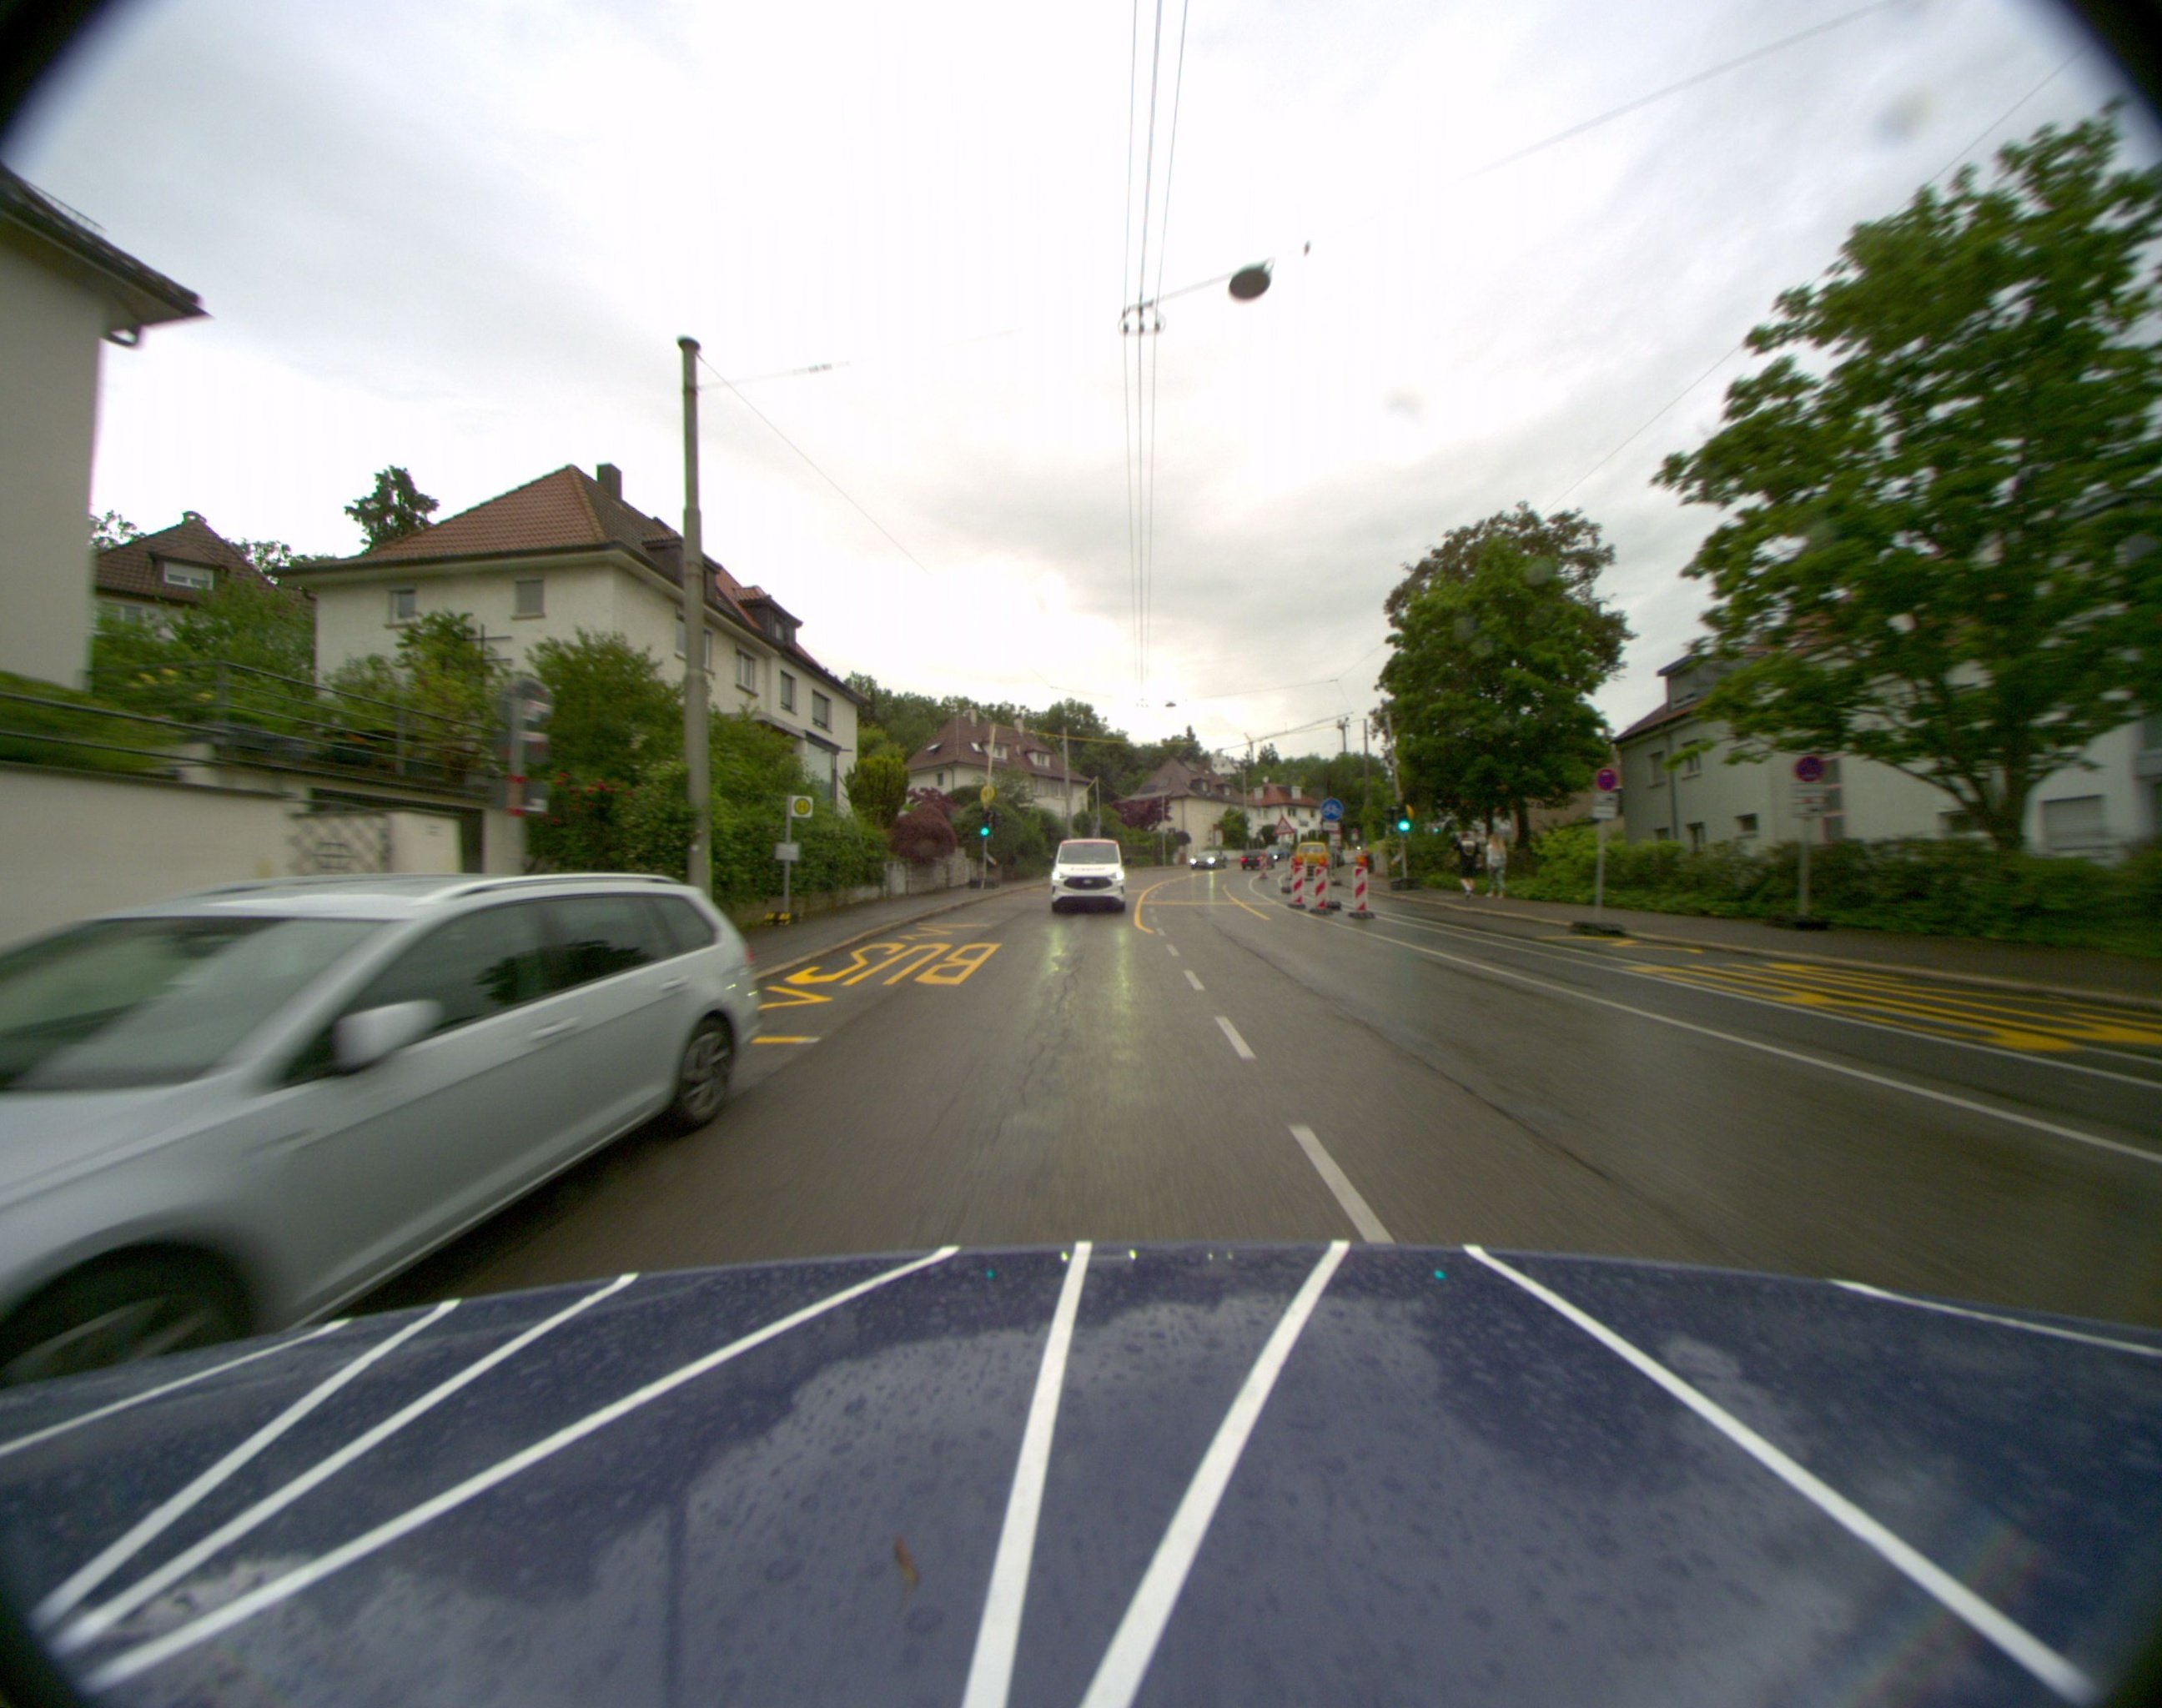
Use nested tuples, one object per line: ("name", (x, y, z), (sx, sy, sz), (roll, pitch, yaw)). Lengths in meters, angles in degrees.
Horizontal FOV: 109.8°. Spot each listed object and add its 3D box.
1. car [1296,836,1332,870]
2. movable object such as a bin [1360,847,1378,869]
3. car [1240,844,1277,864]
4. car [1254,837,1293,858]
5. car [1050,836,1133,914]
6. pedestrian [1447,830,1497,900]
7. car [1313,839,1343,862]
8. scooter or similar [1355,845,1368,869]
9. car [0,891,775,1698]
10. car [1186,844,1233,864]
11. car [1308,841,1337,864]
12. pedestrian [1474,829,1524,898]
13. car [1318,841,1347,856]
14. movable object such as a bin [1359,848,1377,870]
("car", (14.326, -0.101, 46.616), (1.805, 1.917, 4.583), (0, 2, 21))
("movable object such as a bin", (15.980, 0.227, 42.171), (0.859, 1.134, 0.713), (-2, 2, 18))
("car", (13.243, -0.027, 56.579), (1.700, 1.452, 4.691), (0, 1, 26))
("car", (19.114, -0.645, 75.270), (2.010, 1.929, 4.007), (-1, 3, 42))
("car", (0.360, 0.518, 21.650), (2.041, 1.928, 4.515), (-2, 0, 2))
("pedestrian", (10.566, 0.289, 20.552), (0.709, 1.806, 1.147), (-2, 0, 1))
("car", (18.378, -0.298, 56.378), (1.721, 1.598, 4.469), (-2, 1, 22))
("scooter or similar", (15.697, 0.173, 42.524), (0.399, 1.253, 1.319), (-4, 1, 31))
("car", (-3.035, 0.989, 2.925), (1.785, 1.412, 4.430), (-1, 1, 2))
("car", (9.971, -0.038, 58.692), (1.984, 1.428, 4.523), (-1, 1, 32))
("car", (16.565, -0.137, 52.006), (1.576, 1.446, 3.469), (-1, 2, 22))
("pedestrian", (11.405, 0.260, 20.748), (0.682, 1.806, 1.155), (-2, 0, 1))
("car", (24.346, -0.527, 73.476), (1.699, 1.452, 3.943), (0, 1, 33))
("movable object such as a bin", (15.644, 0.262, 41.493), (0.859, 1.134, 0.713), (-2, 2, 18))
